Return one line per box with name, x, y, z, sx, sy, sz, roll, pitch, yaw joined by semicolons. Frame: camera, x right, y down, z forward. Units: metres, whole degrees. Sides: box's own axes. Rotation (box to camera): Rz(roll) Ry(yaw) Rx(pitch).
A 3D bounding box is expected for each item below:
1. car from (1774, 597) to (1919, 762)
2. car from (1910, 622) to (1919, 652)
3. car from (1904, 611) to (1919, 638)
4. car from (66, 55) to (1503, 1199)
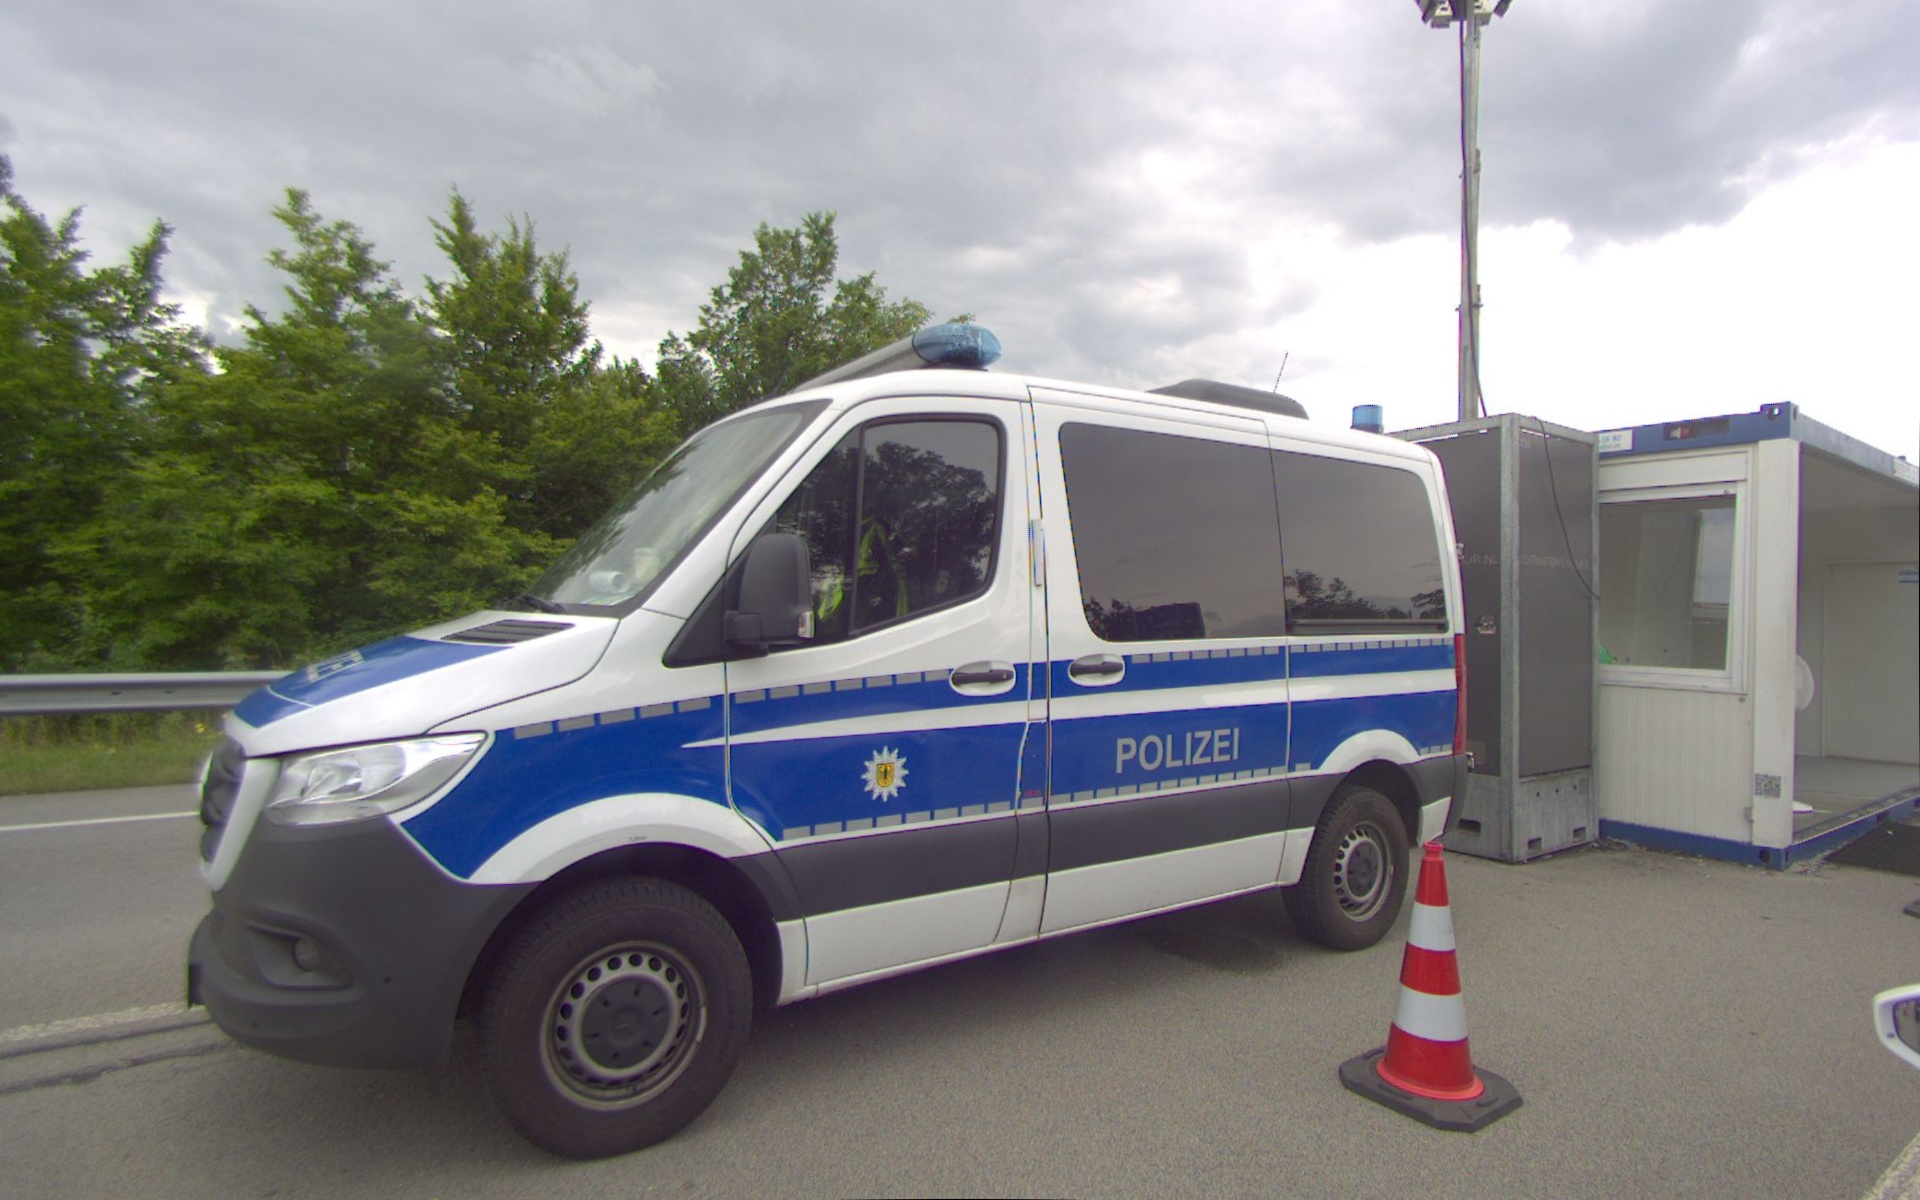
car;11.702;0.891;12.110;3.967;1.767;1.857;1;0;-34
car;50.350;1.903;51.781;4.229;1.518;1.836;2;-1;-45
car;81.727;2.128;85.514;1.834;2.252;4.234;1;0;42
car;-0.101;0.237;4.264;5.224;2.496;2.017;1;0;-34
